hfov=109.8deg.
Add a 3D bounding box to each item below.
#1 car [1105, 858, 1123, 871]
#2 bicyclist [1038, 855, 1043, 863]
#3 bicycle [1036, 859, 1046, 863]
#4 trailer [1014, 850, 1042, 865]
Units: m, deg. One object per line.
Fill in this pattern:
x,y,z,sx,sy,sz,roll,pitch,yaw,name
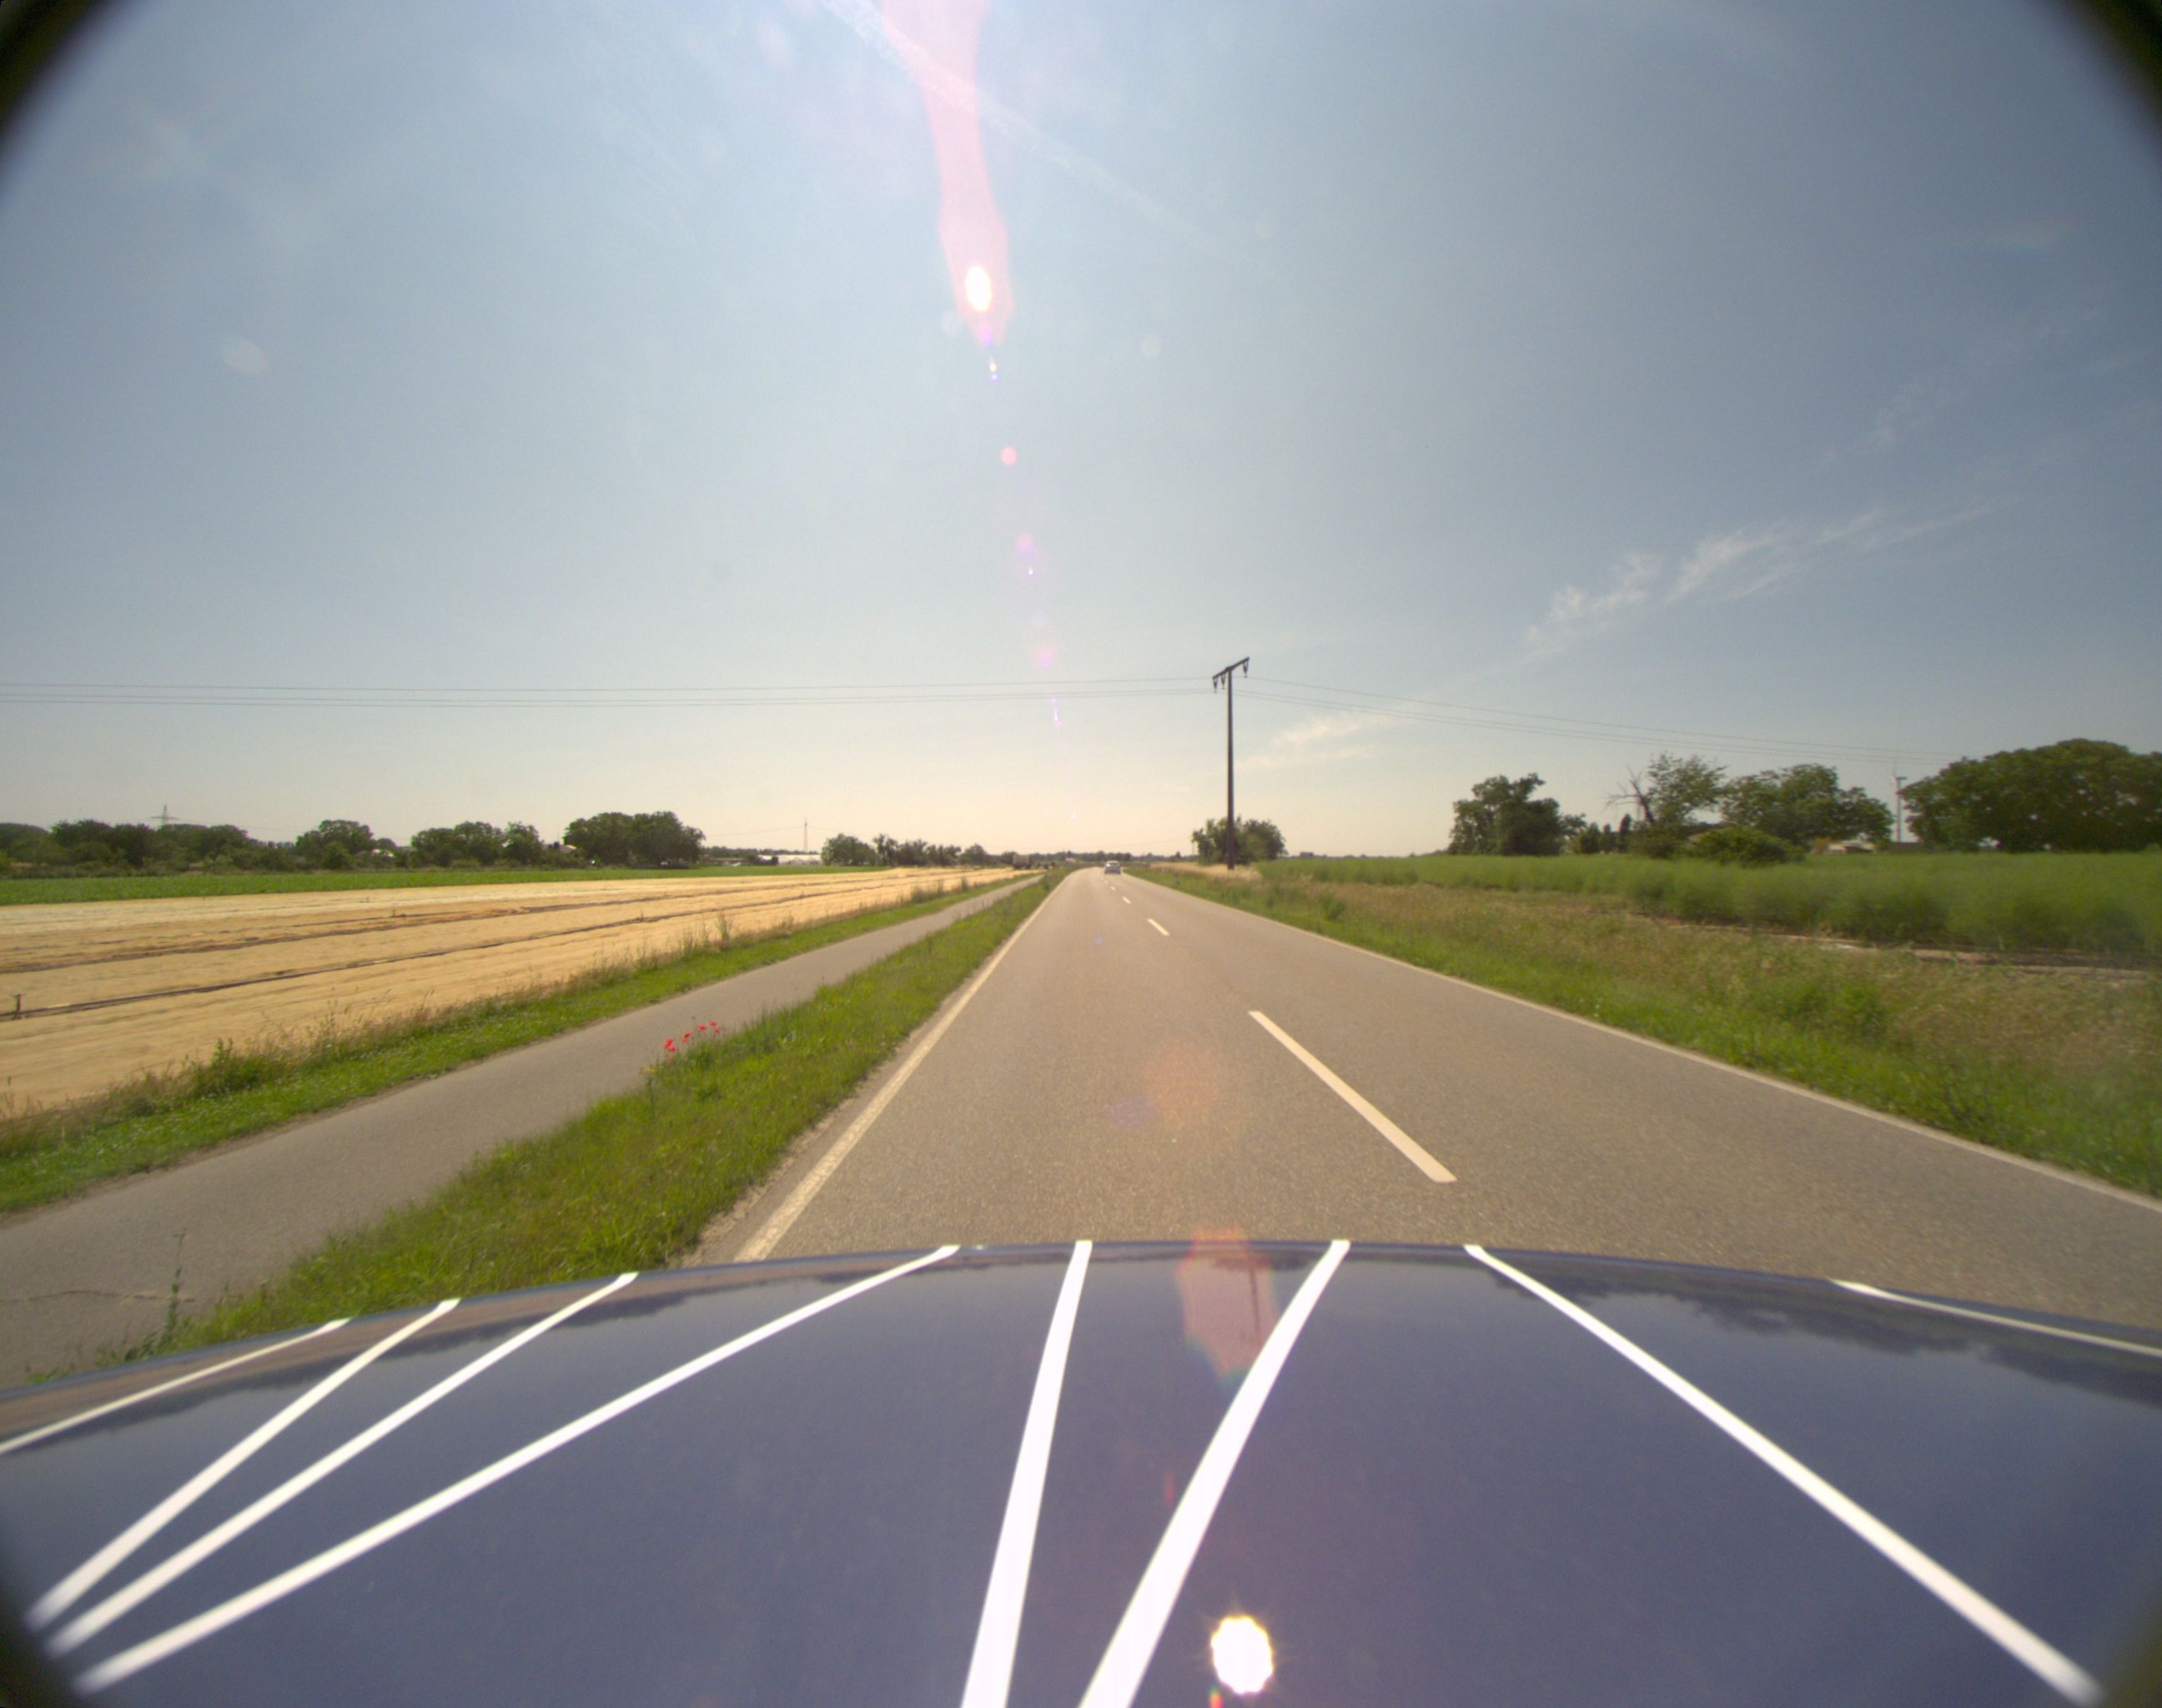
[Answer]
3.724,1.157,86.367,1.796,1.401,4.185,1,0,0,car
-8.737,1.138,164.187,0.700,1.747,0.663,-1,0,18,bicyclist
-8.685,1.507,164.175,1.920,0.986,0.683,-1,0,18,bicycle
-10.936,0.733,156.898,5.283,2.935,2.002,1,2,20,trailer
